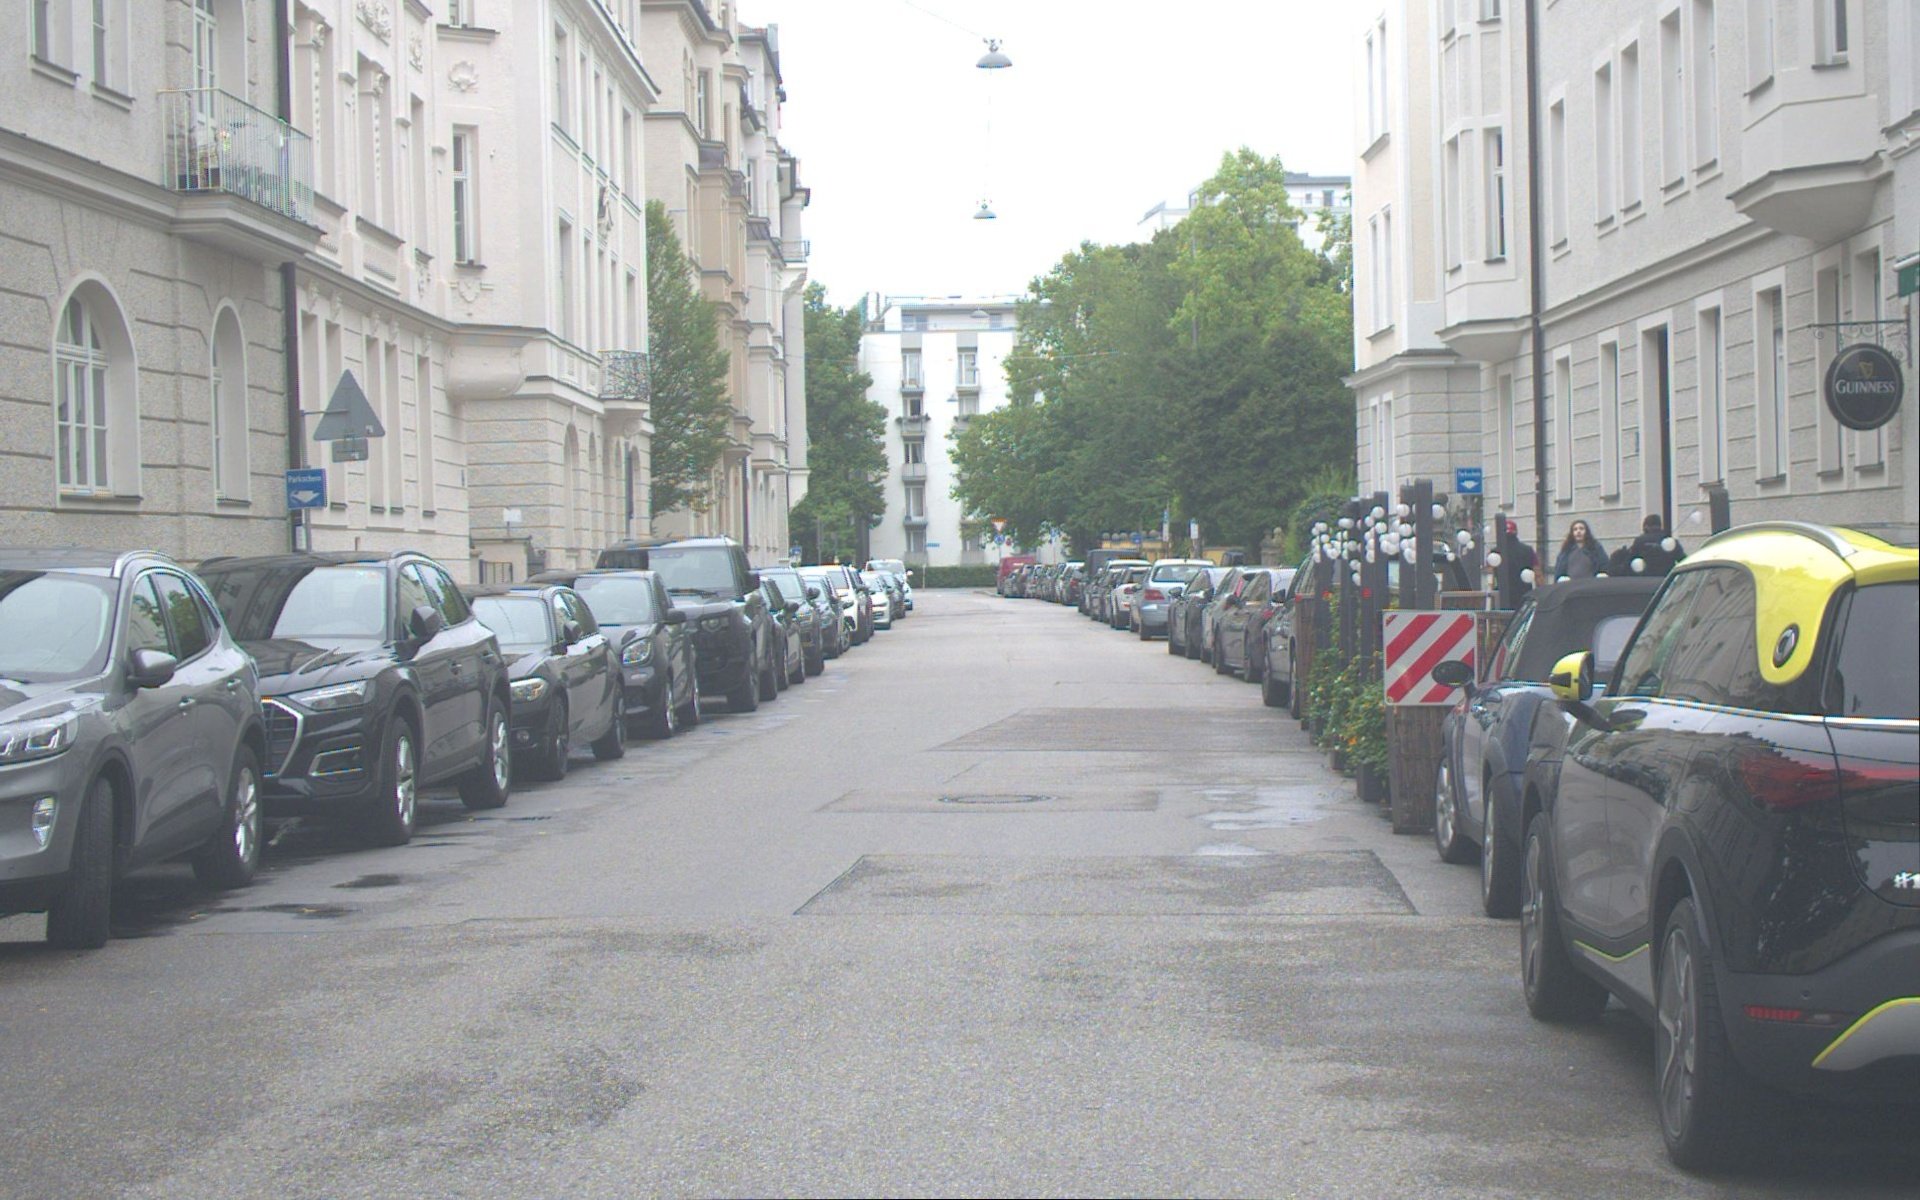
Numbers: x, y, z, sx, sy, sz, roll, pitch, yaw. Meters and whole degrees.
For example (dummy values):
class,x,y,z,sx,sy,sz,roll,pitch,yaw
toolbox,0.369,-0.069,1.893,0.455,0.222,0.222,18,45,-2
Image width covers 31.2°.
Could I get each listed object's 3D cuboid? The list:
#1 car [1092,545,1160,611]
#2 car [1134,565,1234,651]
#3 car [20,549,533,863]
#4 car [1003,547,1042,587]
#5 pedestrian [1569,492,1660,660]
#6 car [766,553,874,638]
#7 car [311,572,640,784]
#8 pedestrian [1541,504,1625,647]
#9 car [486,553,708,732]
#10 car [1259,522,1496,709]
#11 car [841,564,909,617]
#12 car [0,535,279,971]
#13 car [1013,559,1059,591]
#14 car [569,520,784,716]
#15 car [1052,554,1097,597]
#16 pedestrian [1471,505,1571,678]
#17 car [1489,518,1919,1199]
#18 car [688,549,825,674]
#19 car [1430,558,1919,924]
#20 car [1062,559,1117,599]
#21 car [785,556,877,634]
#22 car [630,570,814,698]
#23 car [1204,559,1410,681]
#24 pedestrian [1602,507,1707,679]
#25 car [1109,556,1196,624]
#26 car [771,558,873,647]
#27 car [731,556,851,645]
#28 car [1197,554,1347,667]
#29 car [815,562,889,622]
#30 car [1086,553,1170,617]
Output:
class,x,y,z,sx,sy,sz,roll,pitch,yaw
car,4.631,-0.612,96.426,1.723,1.763,4.413,1,0,1
car,4.405,0.137,68.167,1.822,1.564,4.400,1,1,2
car,-3.870,0.529,20.274,1.876,1.594,4.433,-1,1,3
car,3.181,-1.691,173.597,1.836,1.920,4.004,1,1,2
pedestrian,7.994,-0.296,42.026,0.883,2.007,1.111,-1,1,1
car,-2.832,-0.122,70.277,1.915,1.613,4.571,-1,1,1
car,-3.596,0.530,26.206,1.654,1.402,4.091,-2,1,3
pedestrian,8.034,-0.325,44.386,0.883,1.807,1.111,-1,1,1
car,-3.320,0.348,31.974,1.616,1.508,3.532,-2,1,0
car,3.990,0.101,33.434,1.800,1.669,4.189,-1,1,1
car,-2.586,-0.305,105.649,1.836,1.431,4.245,-4,1,1
car,-4.393,0.565,15.302,1.836,1.672,4.213,-1,1,0
car,3.595,-1.167,162.786,1.838,1.513,3.948,0,0,-3
car,-3.002,0.140,37.300,1.836,1.888,4.763,-3,1,0
car,4.463,-0.942,134.071,1.513,1.656,3.674,0,0,-2
pedestrian,6.005,-0.099,36.854,0.883,1.805,1.111,-1,1,1
car,2.733,0.596,10.123,1.836,1.613,4.094,1,1,2
car,-2.863,0.138,49.094,1.726,1.613,4.122,-3,1,-1
car,3.140,0.541,15.464,1.666,1.395,3.492,1,1,2
car,4.640,-0.744,123.939,1.838,1.408,4.342,0,0,0
car,-2.807,-0.142,75.626,1.836,1.613,4.245,-1,1,0
car,-2.929,0.385,43.075,1.836,1.389,4.244,-3,1,1
car,4.321,0.217,43.546,1.836,1.394,4.974,0,1,-3
pedestrian,7.370,-0.083,36.507,0.883,1.780,1.111,-1,1,1
car,4.397,-0.249,79.054,1.784,1.499,4.065,0,1,0
car,-2.633,0.025,65.057,1.782,1.536,4.258,-3,1,-3
car,-2.927,-0.012,60.344,1.792,1.410,4.279,-4,1,0
car,4.398,0.113,49.016,1.760,1.480,4.420,1,1,1
car,-2.841,-0.225,90.995,1.836,1.429,4.245,-3,1,-1
car,4.439,-0.412,91.379,1.750,1.605,4.424,0,1,-3
